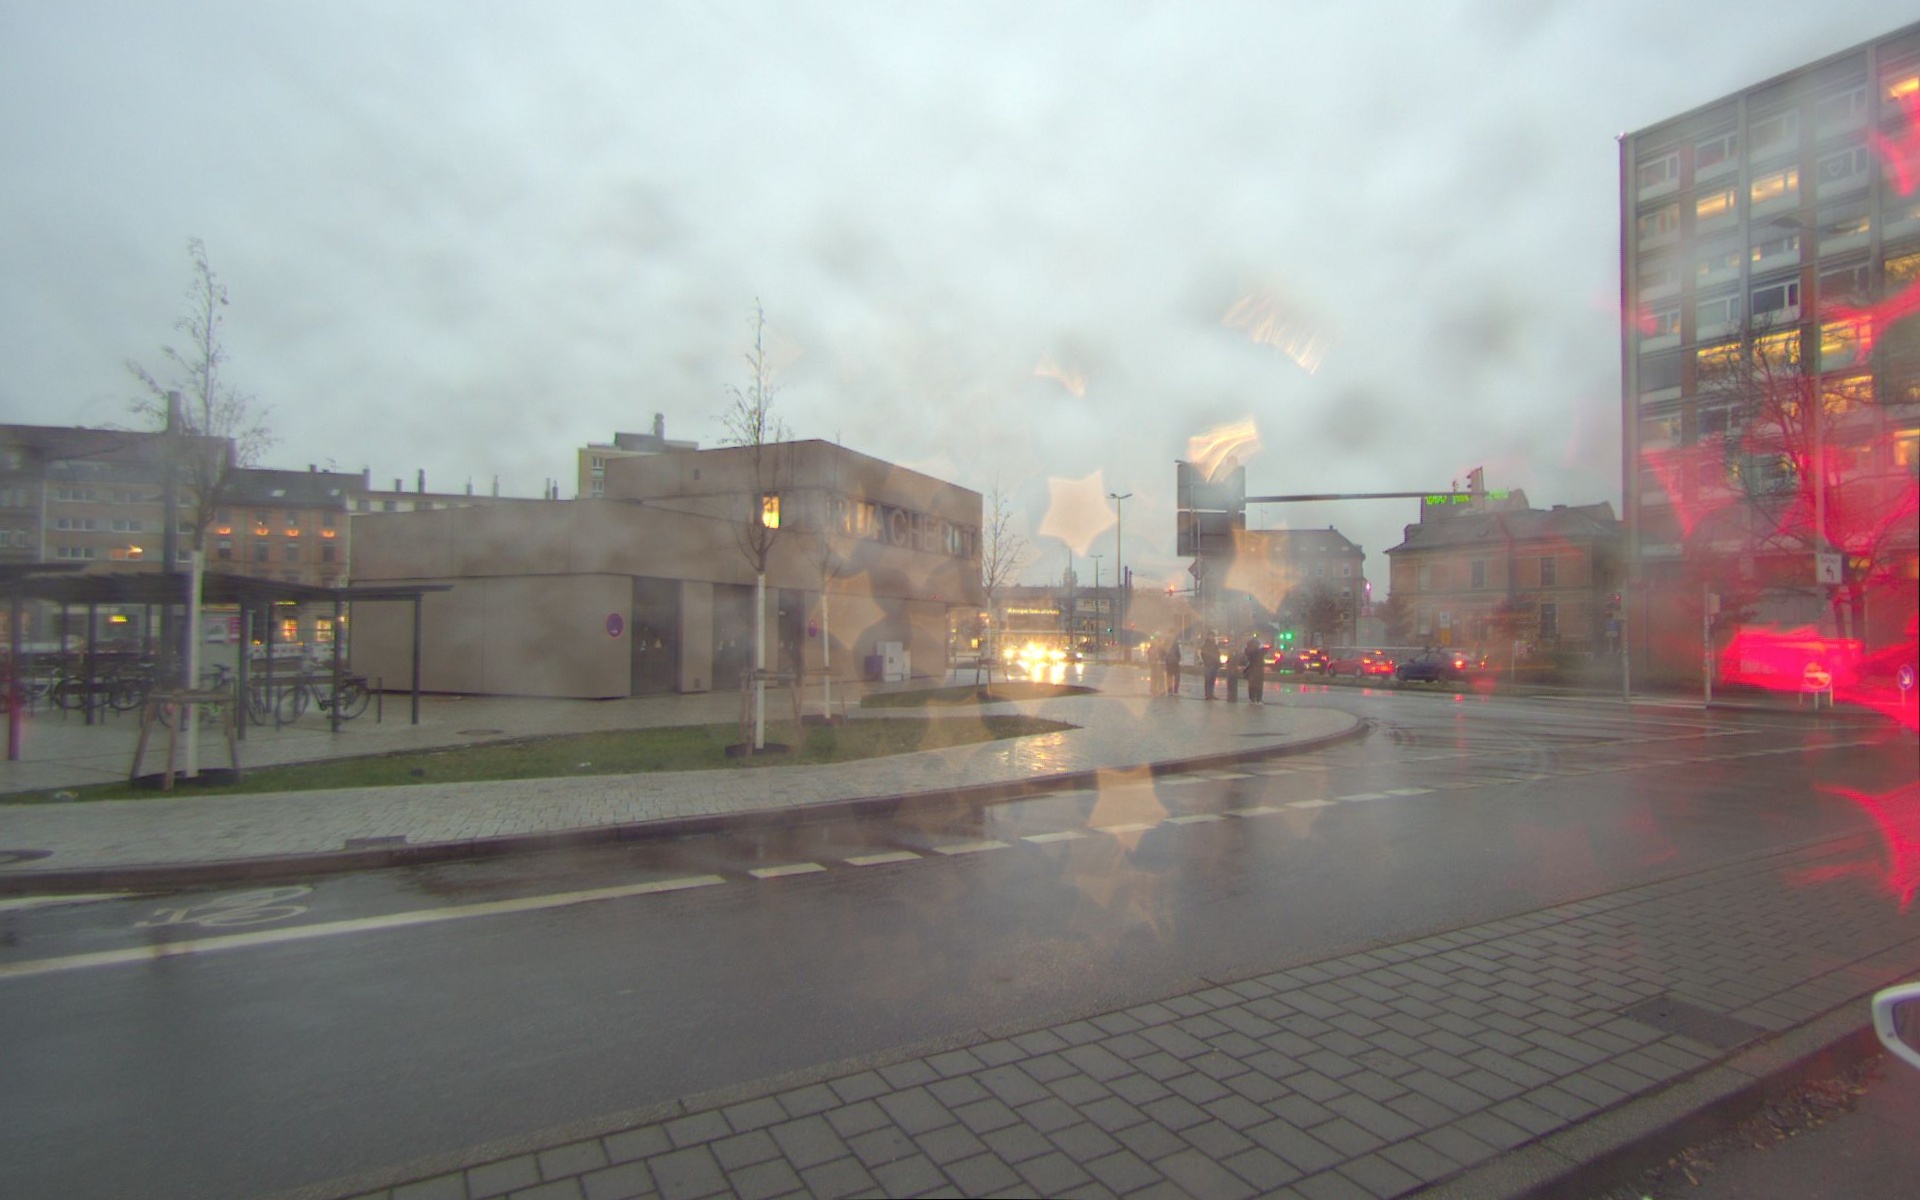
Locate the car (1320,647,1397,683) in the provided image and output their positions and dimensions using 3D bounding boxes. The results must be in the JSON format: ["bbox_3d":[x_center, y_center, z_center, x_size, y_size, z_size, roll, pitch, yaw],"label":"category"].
[{"bbox_3d":[20.502,3.313,51.814,1.795,1.589,3.991,2,0,-11],"label":"car"}]

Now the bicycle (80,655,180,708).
[{"bbox_3d":[-17.683,1.711,21.431,0.511,1.050,1.573,1,-2,19],"label":"bicycle"}]

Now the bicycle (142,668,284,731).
[{"bbox_3d":[-12.932,1.704,17.458,0.466,0.989,1.923,1,-2,29],"label":"bicycle"}]

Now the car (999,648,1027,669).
[{"bbox_3d":[4.281,4.722,81.725,1.901,1.572,4.699,1,-3,-2],"label":"car"}]

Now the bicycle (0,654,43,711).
[{"bbox_3d":[-19.390,1.633,19.838,0.466,1.122,1.797,1,-2,29],"label":"bicycle"}]

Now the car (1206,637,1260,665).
[{"bbox_3d":[19.627,3.657,72.351,3.514,1.850,1.672,2,0,8],"label":"car"}]

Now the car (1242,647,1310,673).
[{"bbox_3d":[20.095,3.809,63.975,3.741,1.502,1.602,2,0,-1],"label":"car"}]

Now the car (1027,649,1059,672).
[{"bbox_3d":[5.638,4.134,68.770,1.711,1.467,3.713,-1,-2,-3],"label":"car"}]

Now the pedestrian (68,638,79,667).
[{"bbox_3d":[-62.208,3.697,70.496,0.407,2.040,0.441,0,-2,-22],"label":"pedestrian"}]

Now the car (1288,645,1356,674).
[{"bbox_3d":[20.907,3.411,58.074,3.364,1.481,1.515,2,0,-1],"label":"car"}]

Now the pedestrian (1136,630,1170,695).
[{"bbox_3d":[5.421,1.744,28.241,0.544,1.793,0.734,1,-3,-43],"label":"pedestrian"}]

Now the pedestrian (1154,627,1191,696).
[{"bbox_3d":[5.844,1.686,27.666,0.671,1.863,0.726,1,-3,-42],"label":"pedestrian"}]

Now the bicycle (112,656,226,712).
[{"bbox_3d":[-16.526,1.737,21.038,0.466,1.087,1.830,1,-2,26],"label":"bicycle"}]

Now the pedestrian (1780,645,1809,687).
[{"bbox_3d":[35.114,2.766,42.281,0.626,1.710,0.640,0,-2,-13],"label":"pedestrian"}]

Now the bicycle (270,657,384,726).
[{"bbox_3d":[-11.746,1.677,18.718,0.605,1.172,1.755,1,-2,20],"label":"bicycle"}]

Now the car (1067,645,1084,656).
[{"bbox_3d":[17.231,7.552,149.843,1.705,1.529,4.000,-1,-2,20],"label":"car"}]

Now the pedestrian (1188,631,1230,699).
[{"bbox_3d":[6.593,1.707,26.625,0.838,1.778,0.659,0,-2,-14],"label":"pedestrian"}]

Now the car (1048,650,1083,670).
[{"bbox_3d":[8.297,4.728,79.386,1.777,1.496,4.590,1,-3,-6],"label":"car"}]

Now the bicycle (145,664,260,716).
[{"bbox_3d":[-15.176,1.779,20.173,0.466,0.968,1.767,1,-2,29],"label":"bicycle"}]

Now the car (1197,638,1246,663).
[{"bbox_3d":[19.397,3.724,74.495,3.321,1.724,1.526,2,0,8],"label":"car"}]

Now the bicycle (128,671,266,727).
[{"bbox_3d":[-13.582,1.738,17.950,0.466,0.903,1.923,1,-2,29],"label":"bicycle"}]

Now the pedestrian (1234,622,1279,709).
[{"bbox_3d":[7.204,1.580,24.381,0.971,2.047,0.802,-1,-2,19],"label":"pedestrian"}]

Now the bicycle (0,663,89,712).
[{"bbox_3d":[-18.504,1.734,19.989,0.466,0.903,1.693,1,-2,24],"label":"bicycle"}]

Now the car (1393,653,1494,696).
[{"bbox_3d":[21.570,3.311,44.981,1.798,1.589,3.984,2,0,-18],"label":"car"}]
